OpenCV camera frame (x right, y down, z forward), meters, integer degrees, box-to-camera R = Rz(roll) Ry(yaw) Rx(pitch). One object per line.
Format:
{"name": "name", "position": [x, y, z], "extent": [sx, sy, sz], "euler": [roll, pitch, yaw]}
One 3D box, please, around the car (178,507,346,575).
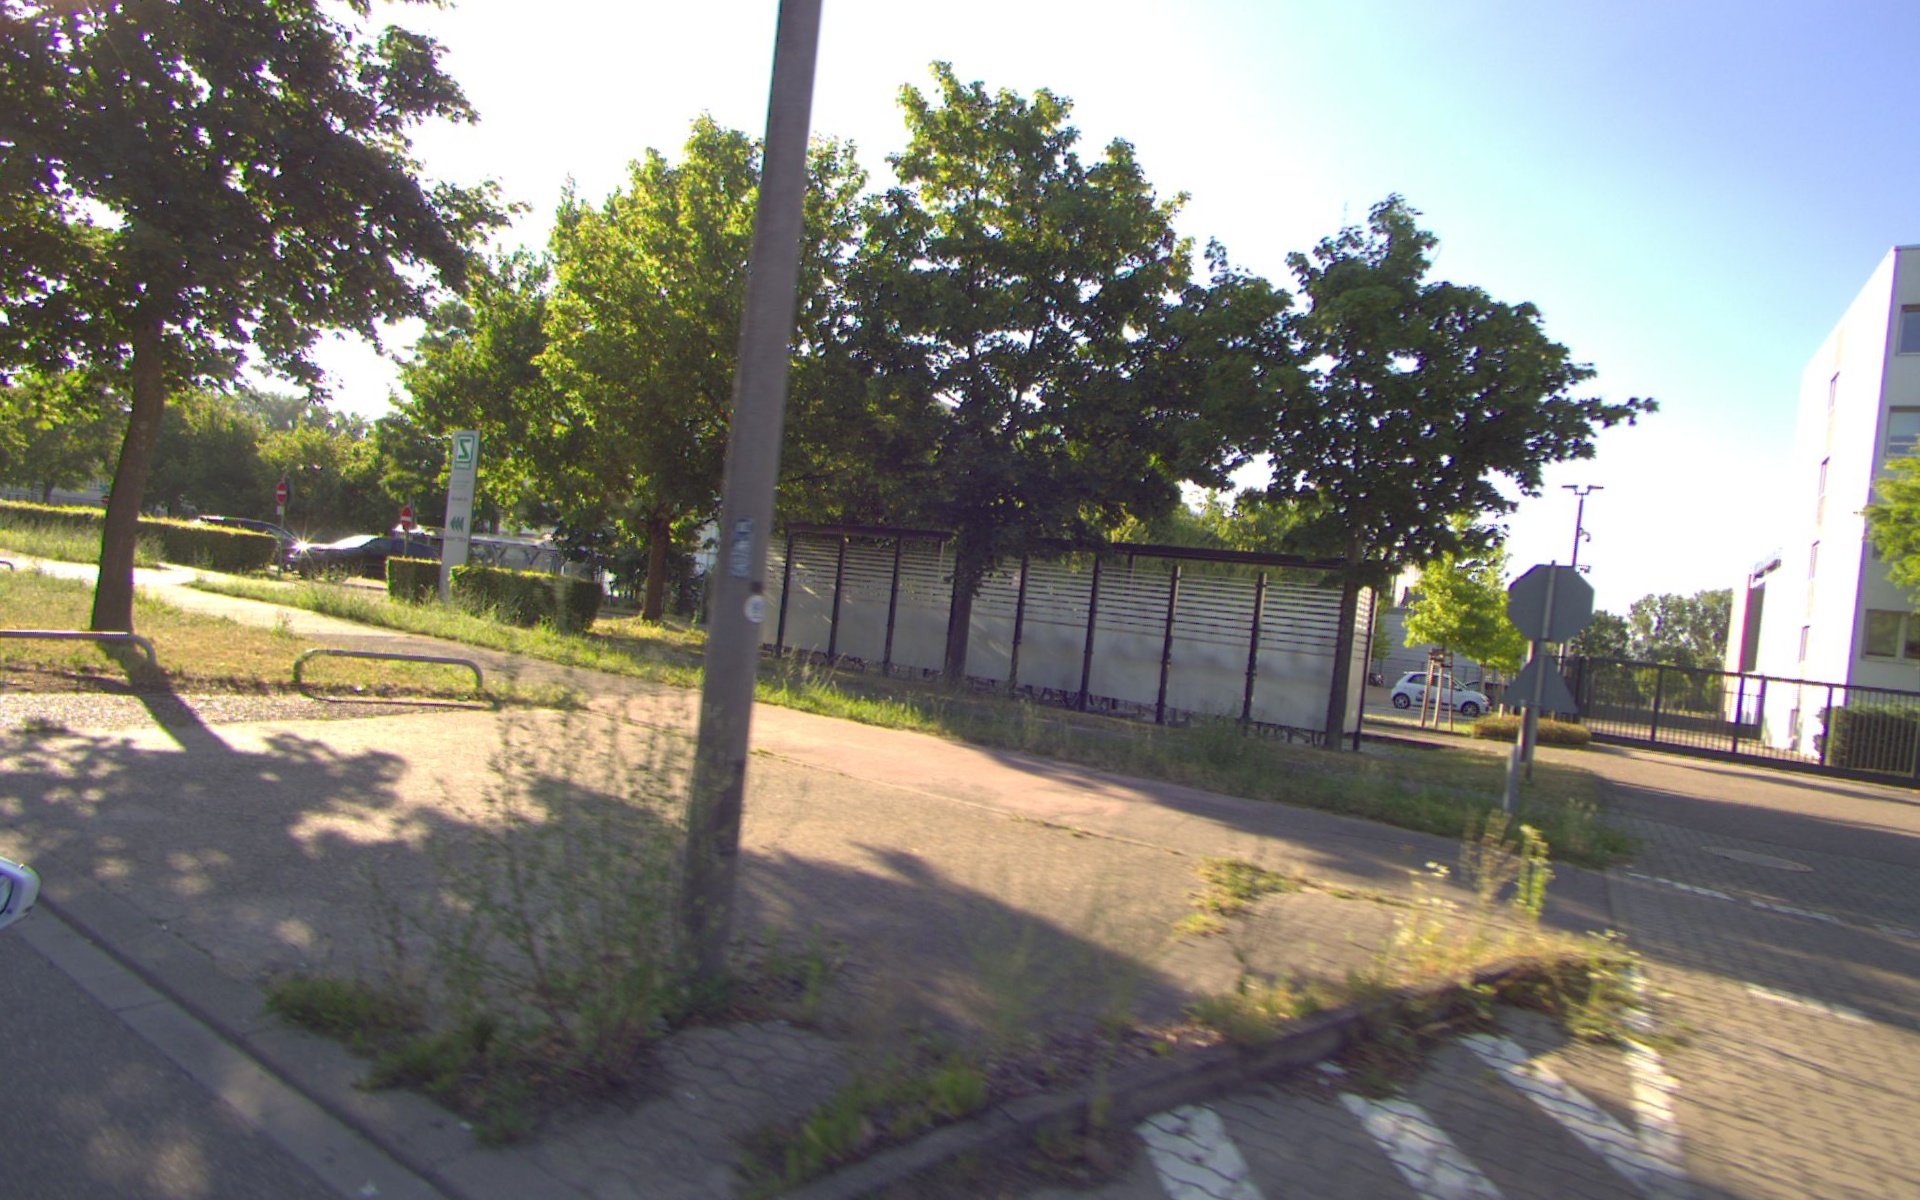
{"name": "car", "position": [-24.536, -2.042, 35.510], "extent": [1.968, 1.726, 4.362], "euler": [7, 0, 33]}

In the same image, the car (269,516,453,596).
{"name": "car", "position": [-18.826, -1.334, 31.819], "extent": [2.026, 1.725, 4.437], "euler": [6, -3, 34]}

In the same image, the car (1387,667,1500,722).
{"name": "car", "position": [19.056, 3.699, 39.666], "extent": [3.763, 1.549, 1.620], "euler": [7, 0, 31]}
